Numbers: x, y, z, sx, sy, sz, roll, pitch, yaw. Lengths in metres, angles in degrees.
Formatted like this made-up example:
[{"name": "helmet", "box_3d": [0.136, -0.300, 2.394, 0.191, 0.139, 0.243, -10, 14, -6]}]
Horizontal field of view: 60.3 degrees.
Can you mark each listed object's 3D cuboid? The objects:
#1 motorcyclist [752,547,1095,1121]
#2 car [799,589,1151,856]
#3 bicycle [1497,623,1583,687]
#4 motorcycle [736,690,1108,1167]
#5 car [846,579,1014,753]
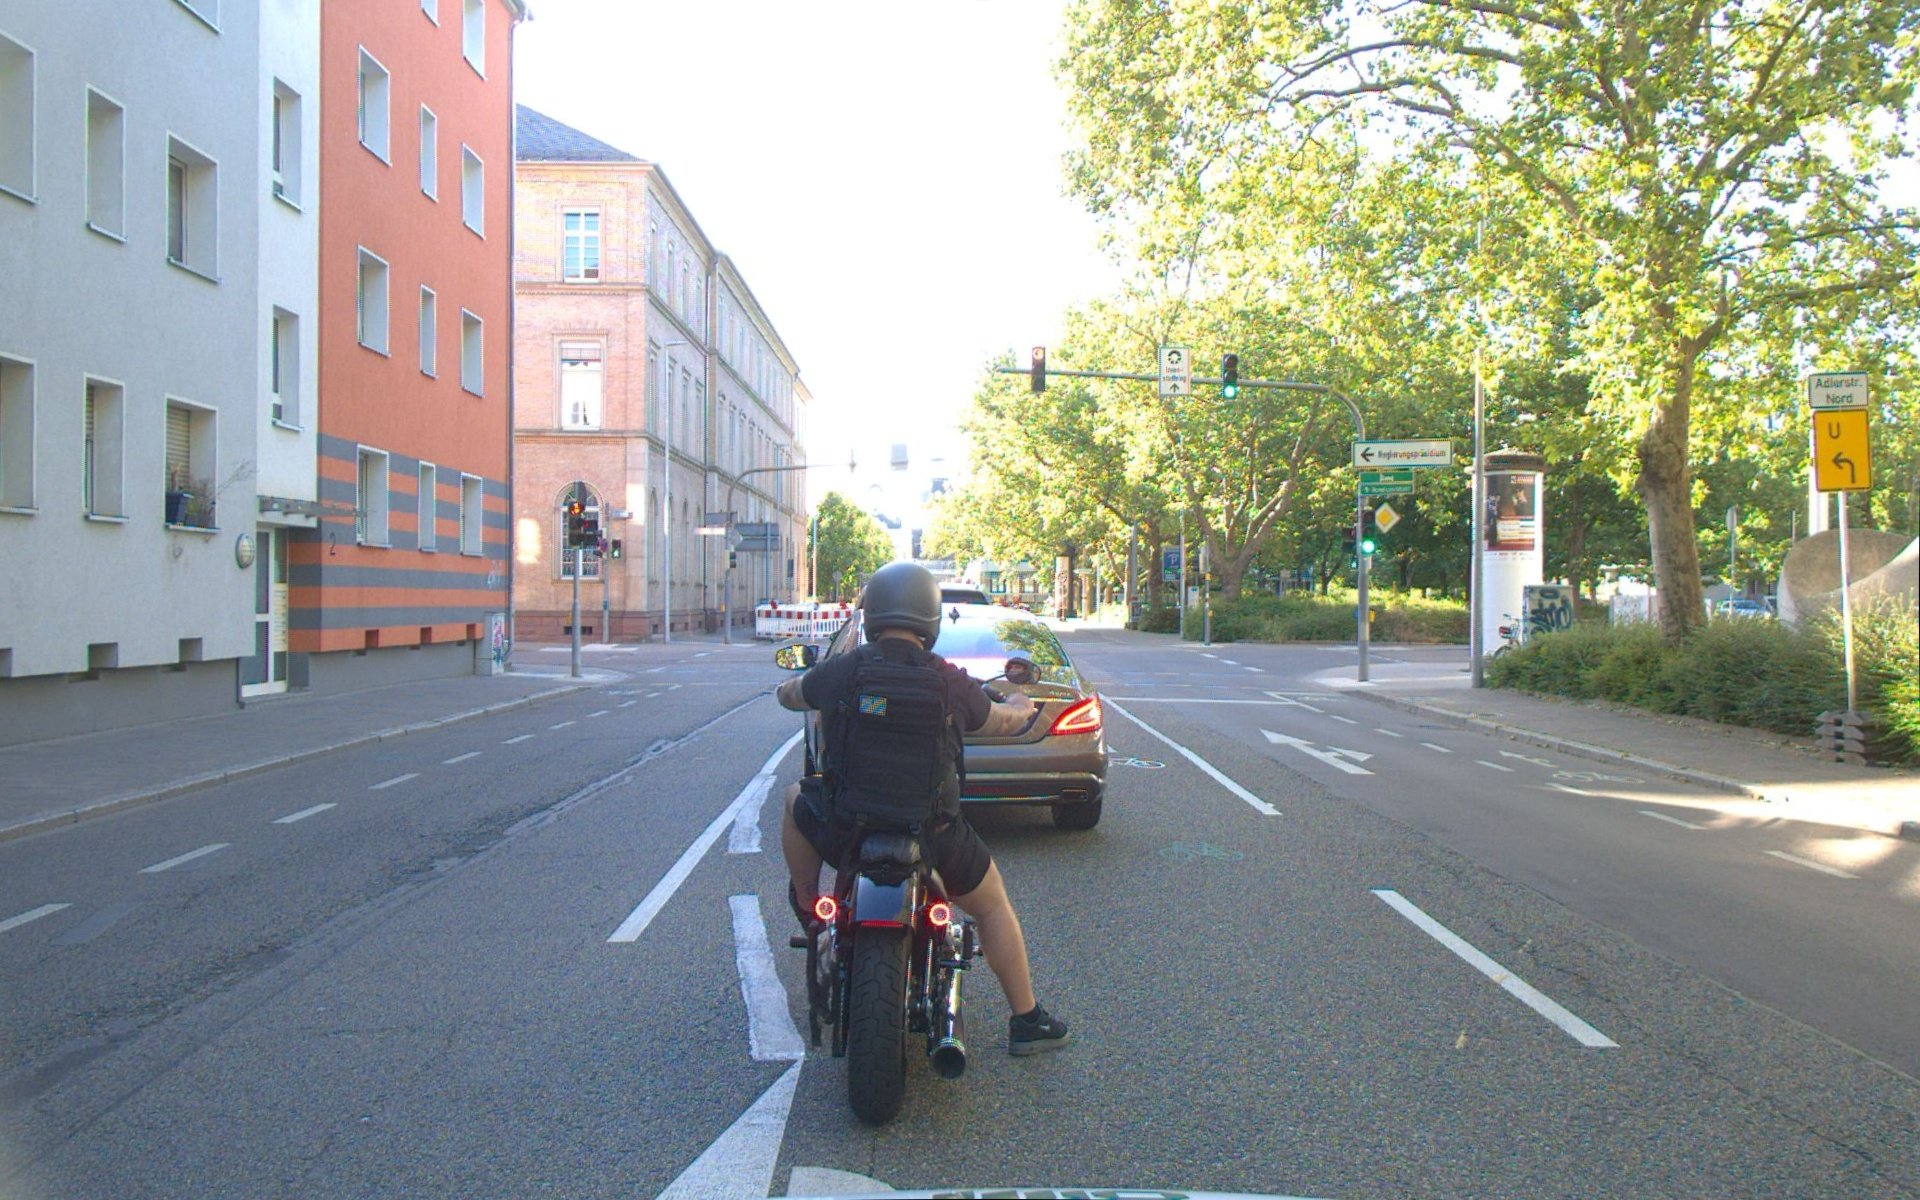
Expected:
[{"name": "motorcyclist", "box_3d": [-0.112, 0.660, 5.392, 0.969, 1.625, 1.403, 0, 0, -1]}, {"name": "car", "box_3d": [-0.112, 0.681, 11.586, 1.909, 1.498, 4.355, 0, 0, -7]}, {"name": "bicycle", "box_3d": [9.740, 0.921, 27.794, 1.324, 1.041, 0.363, 0, 0, 0]}, {"name": "motorcycle", "box_3d": [-0.116, 0.923, 5.546, 0.969, 1.097, 2.451, 0, 0, -1]}, {"name": "car", "box_3d": [-0.334, 0.616, 17.749, 1.580, 1.636, 4.327, 0, 0, -2]}]
